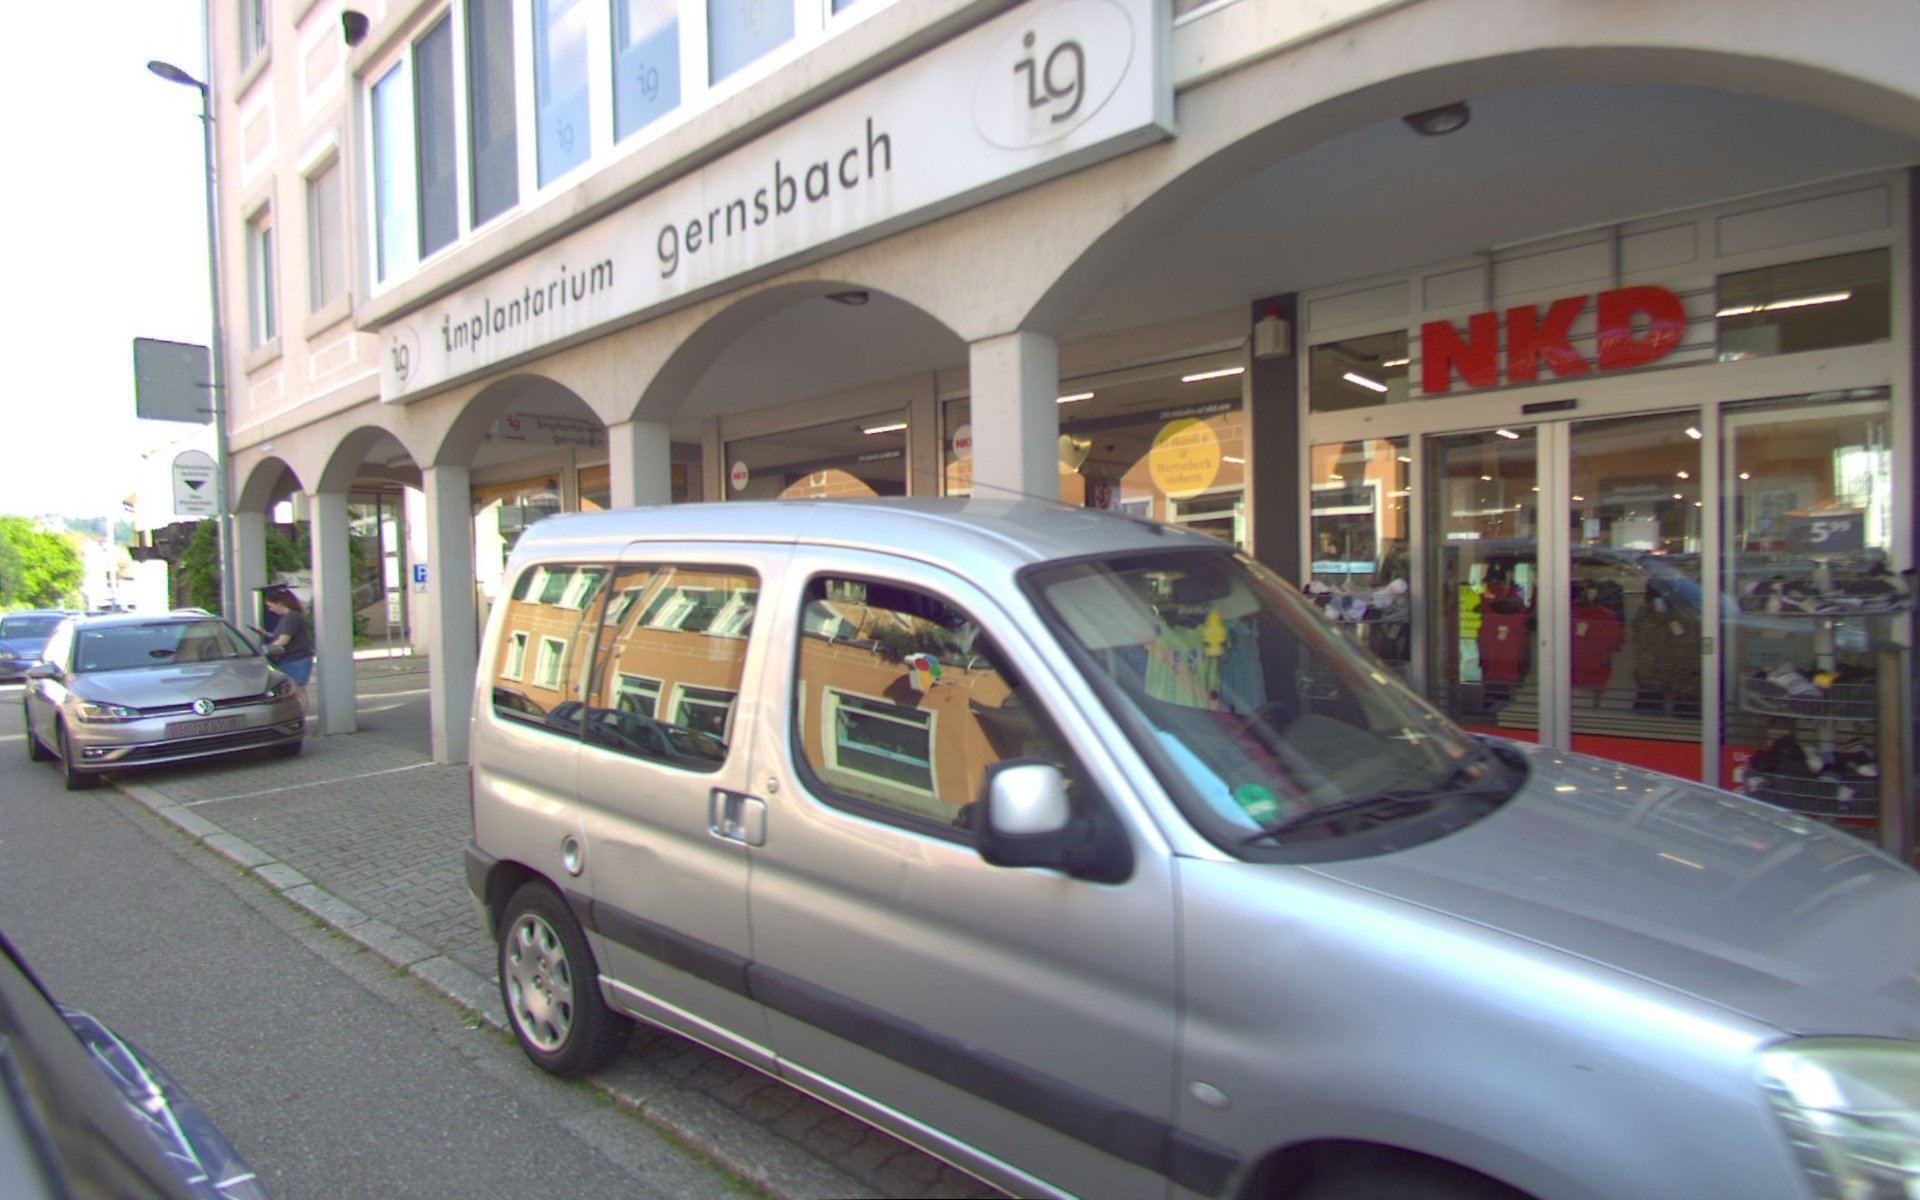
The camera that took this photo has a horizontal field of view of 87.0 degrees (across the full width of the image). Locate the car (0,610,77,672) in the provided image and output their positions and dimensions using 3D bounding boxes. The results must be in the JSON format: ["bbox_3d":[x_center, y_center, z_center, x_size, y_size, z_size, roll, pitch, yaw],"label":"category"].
[{"bbox_3d":[-27.608,1.177,30.219,1.657,1.681,3.978,-1,0,-39],"label":"car"}]

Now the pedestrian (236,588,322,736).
[{"bbox_3d":[-7.531,0.662,11.195,0.533,1.563,0.615,-2,1,39],"label":"pedestrian"}]

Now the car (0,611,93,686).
[{"bbox_3d":[-21.670,1.083,23.638,3.971,1.572,1.745,-1,0,43],"label":"car"}]

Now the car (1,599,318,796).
[{"bbox_3d":[-8.117,0.801,10.094,4.454,1.481,1.784,-1,1,43],"label":"car"}]

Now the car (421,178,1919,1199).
[{"bbox_3d":[0.344,0.444,2.687,4.143,1.752,1.689,-1,2,41],"label":"car"}]
